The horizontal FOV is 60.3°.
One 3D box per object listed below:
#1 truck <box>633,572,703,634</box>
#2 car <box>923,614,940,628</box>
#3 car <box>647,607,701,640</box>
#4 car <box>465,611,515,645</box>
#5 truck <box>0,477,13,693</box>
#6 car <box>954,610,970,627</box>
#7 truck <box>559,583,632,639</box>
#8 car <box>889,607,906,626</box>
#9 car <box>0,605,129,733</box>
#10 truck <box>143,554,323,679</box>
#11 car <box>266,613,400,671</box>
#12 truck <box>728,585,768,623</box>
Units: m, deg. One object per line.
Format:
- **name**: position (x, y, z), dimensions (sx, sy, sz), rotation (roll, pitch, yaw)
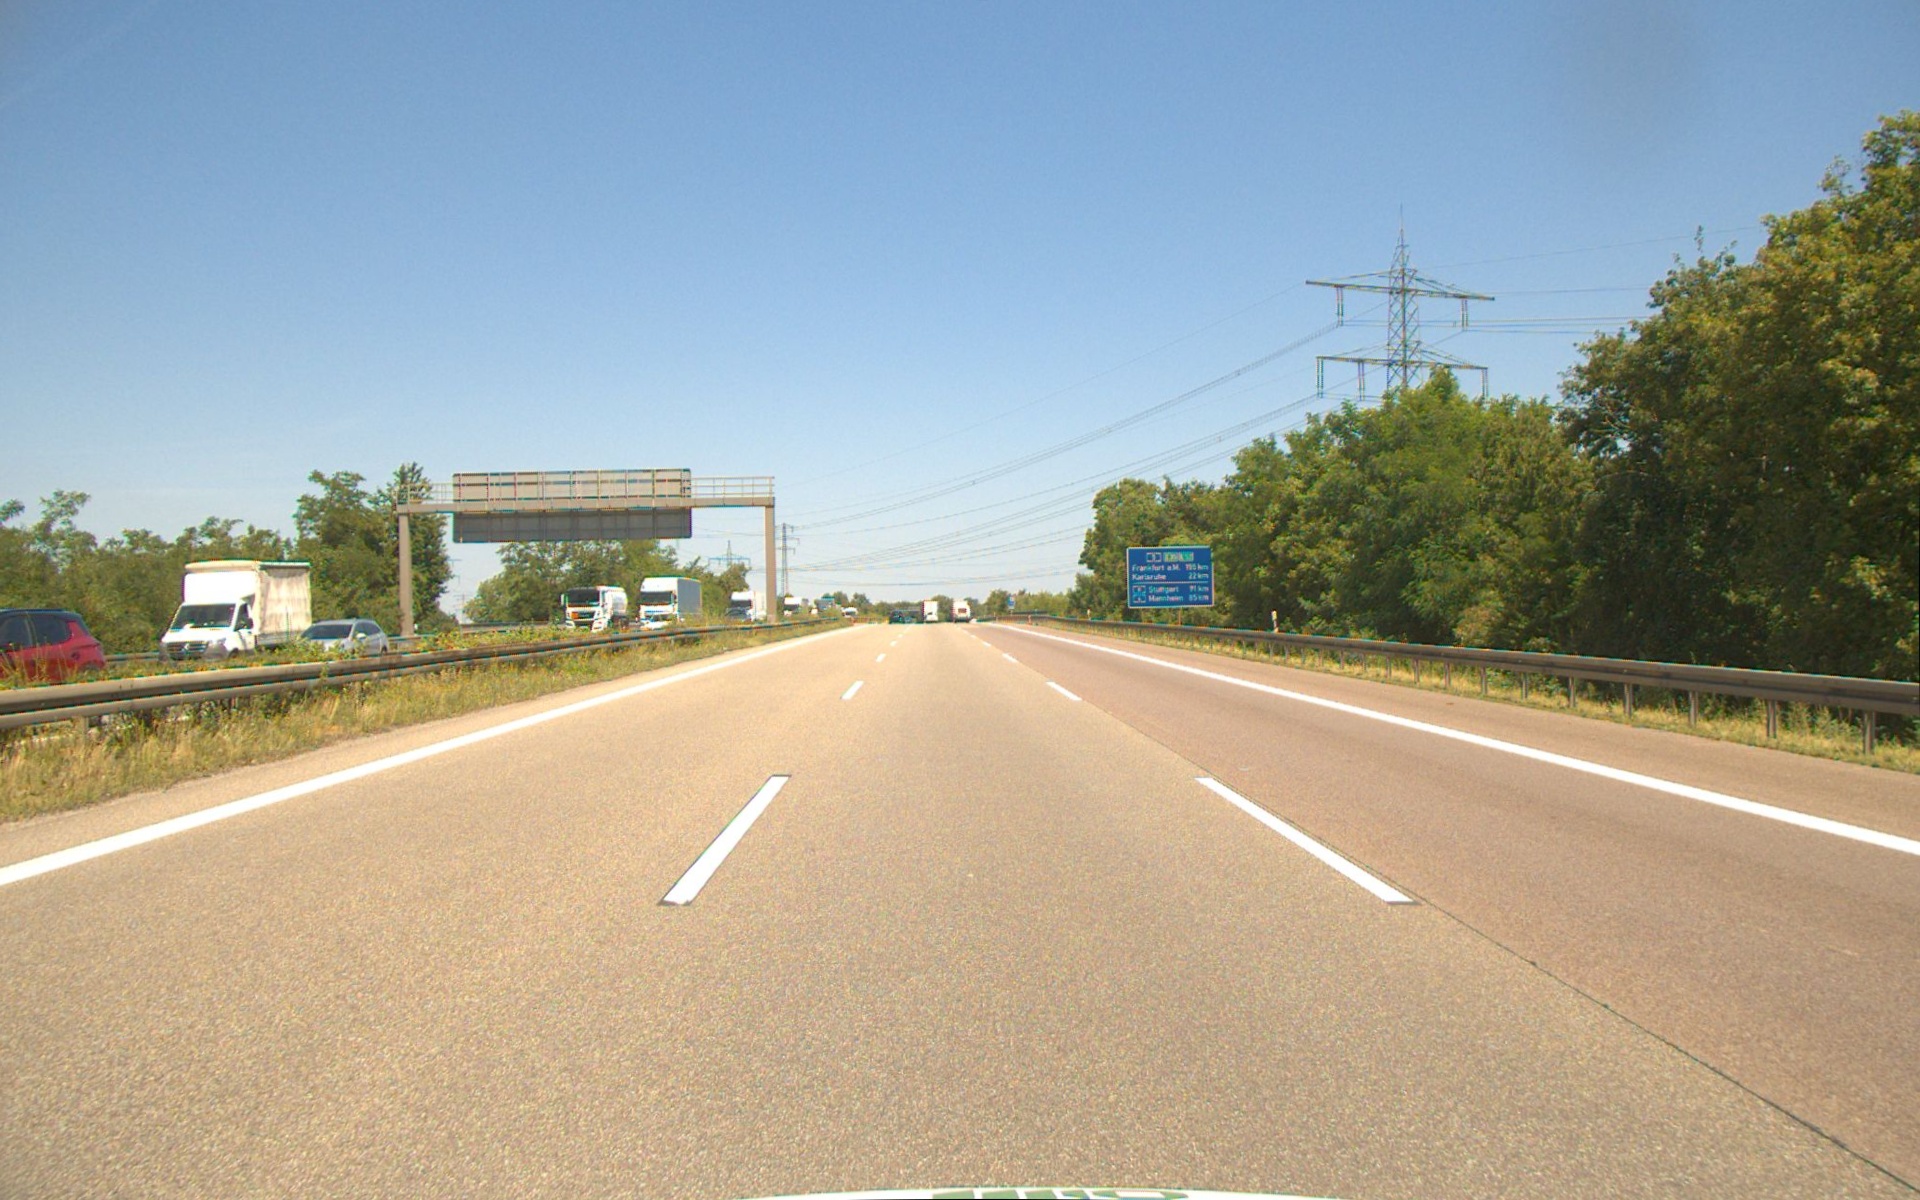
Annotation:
- **truck**: position (-22.559, 0.237, 128.848), dimensions (2.657, 4.466, 17.321), rotation (-1, 0, -1)
- **car**: position (-4.073, 3.045, 239.155), dimensions (2.132, 1.963, 4.613), rotation (-1, 0, 2)
- **car**: position (-13.837, 1.110, 80.287), dimensions (1.953, 1.536, 4.241), rotation (-1, 0, -1)
- **car**: position (-26.666, 1.578, 93.902), dimensions (1.893, 1.847, 3.997), rotation (-1, 0, -4)
- **truck**: position (-21.093, -0.222, 25.580), dimensions (3.151, 4.453, 17.187), rotation (-4, 0, -1)
- **car**: position (0.238, 2.305, 205.019), dimensions (1.953, 2.049, 3.999), rotation (-1, 0, -2)
- **truck**: position (-22.348, 0.672, 101.889), dimensions (2.657, 3.264, 8.922), rotation (-1, 0, -1)
- **car**: position (-7.044, 1.867, 185.795), dimensions (1.755, 2.049, 3.887), rotation (1, 0, -1)
- **car**: position (-12.645, 0.854, 21.256), dimensions (1.953, 1.545, 3.999), rotation (-1, 0, -1)
- **truck**: position (-22.023, 0.468, 50.584), dimensions (2.321, 3.525, 7.420), rotation (-1, 0, -1)
- **car**: position (-17.440, 1.129, 46.258), dimensions (1.953, 1.510, 4.944), rotation (-1, 0, -1)
- **truck**: position (-24.516, 0.518, 192.111), dimensions (2.901, 4.162, 17.021), rotation (-1, 0, -2)
